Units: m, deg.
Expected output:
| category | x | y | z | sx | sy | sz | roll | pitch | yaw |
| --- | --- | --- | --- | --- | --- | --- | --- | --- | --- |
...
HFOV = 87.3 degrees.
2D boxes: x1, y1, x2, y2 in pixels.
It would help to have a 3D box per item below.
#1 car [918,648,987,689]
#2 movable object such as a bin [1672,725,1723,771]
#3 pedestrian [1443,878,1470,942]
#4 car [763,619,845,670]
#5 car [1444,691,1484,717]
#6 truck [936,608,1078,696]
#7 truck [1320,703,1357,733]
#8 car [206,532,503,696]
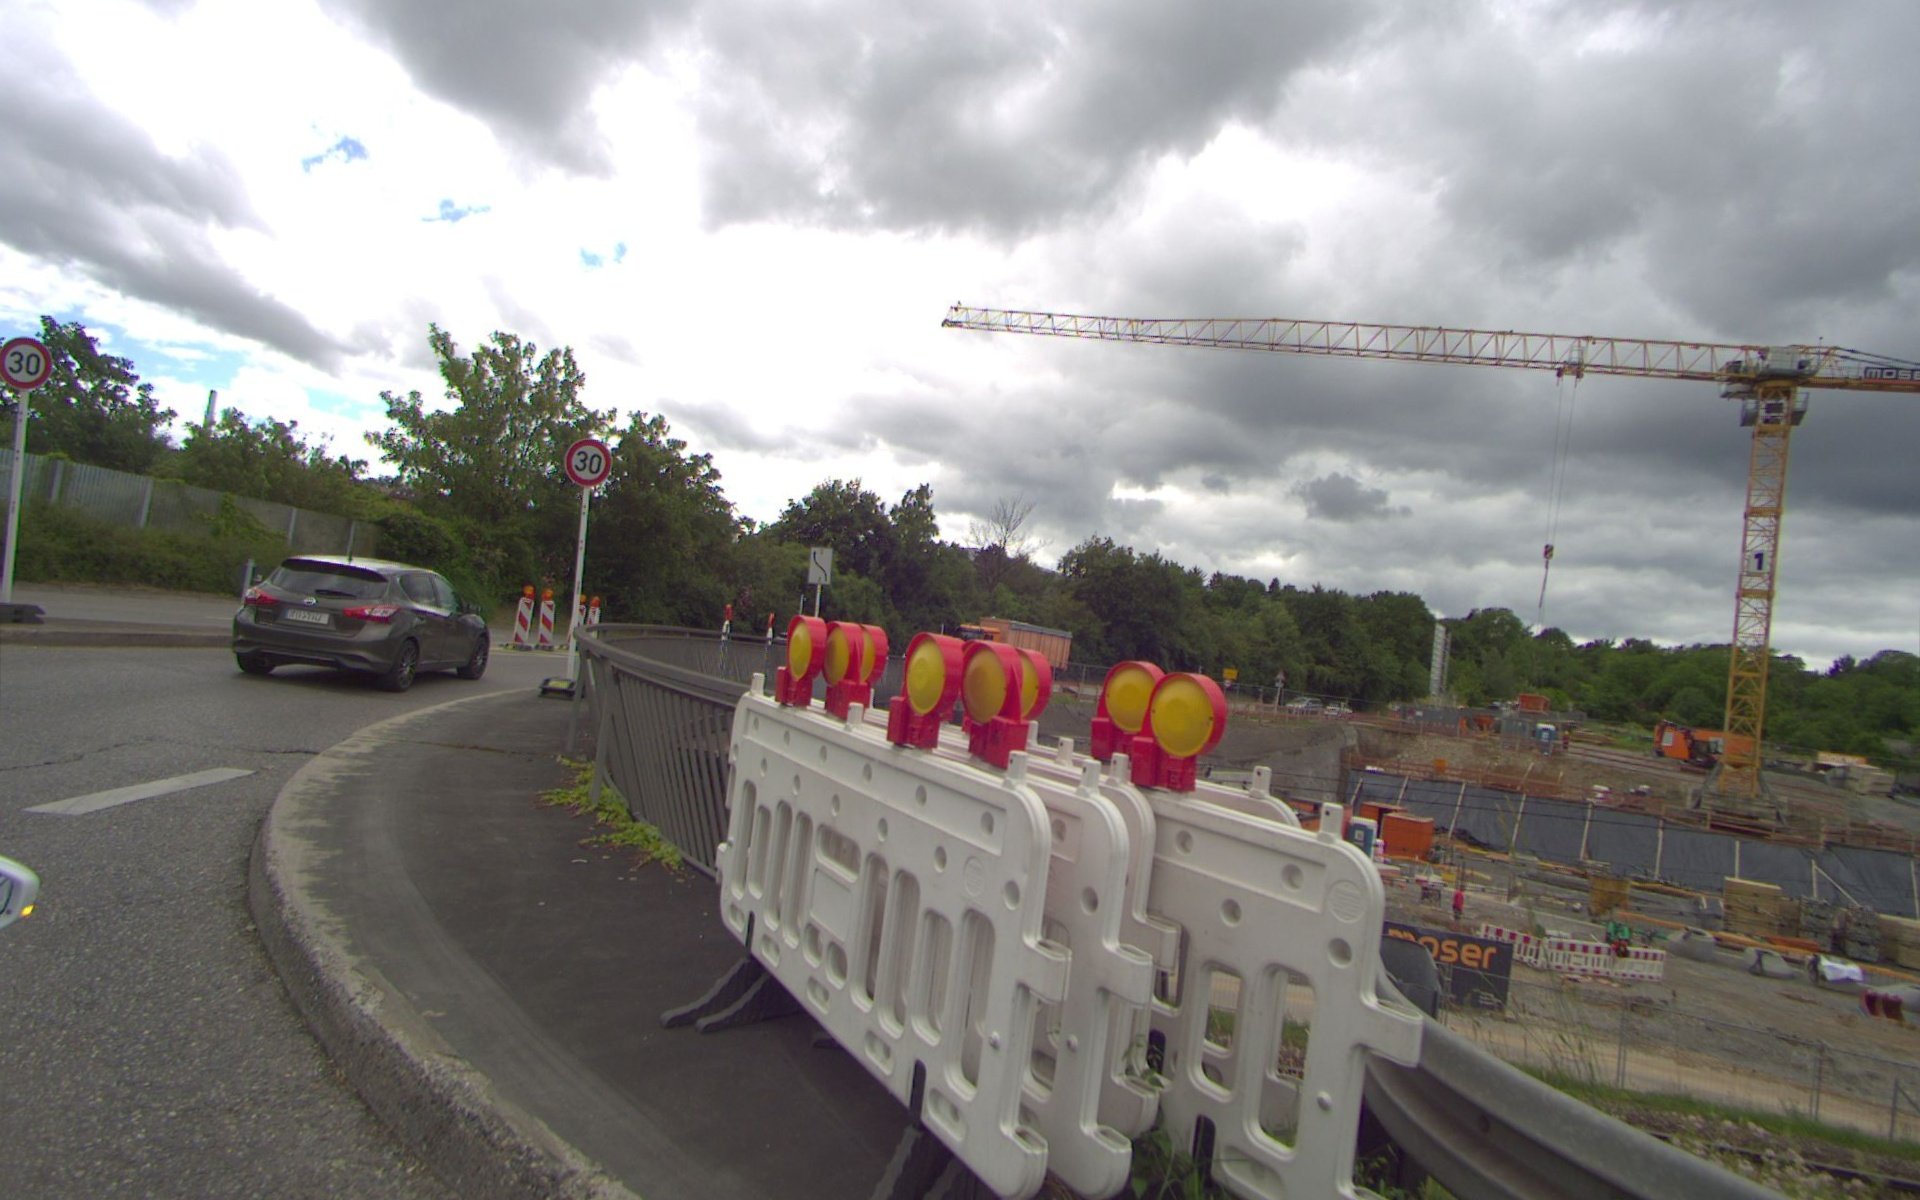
| category | x | y | z | sx | sy | sz | roll | pitch | yaw |
| --- | --- | --- | --- | --- | --- | --- | --- | --- | --- |
| car | -0.347 | 3.596 | 52.344 | 1.688 | 1.692 | 4.000 | 5 | -5 | 30 |
| movable object such as a bin | 57.205 | 11.510 | 78.058 | 1.831 | 3.110 | 2.768 | 10 | -4 | -43 |
| pedestrian | 17.588 | 10.962 | 35.628 | 0.691 | 2.032 | 0.805 | 5 | -7 | 27 |
| car | -5.711 | 1.685 | 37.355 | 1.791 | 1.569 | 3.794 | 8 | -2 | 9 |
| car | 49.637 | 10.226 | 99.063 | 3.974 | 2.035 | 1.979 | 10 | -5 | -40 |
| truck | 3.082 | 3.338 | 62.262 | 3.077 | 4.267 | 9.761 | 6 | -3 | 40 |
| truck | 32.936 | 10.256 | 87.518 | 1.718 | 2.033 | 3.216 | 4 | -7 | 44 |
| car | -7.530 | 0.203 | 13.034 | 1.773 | 1.570 | 3.996 | 8 | -2 | -9 |
